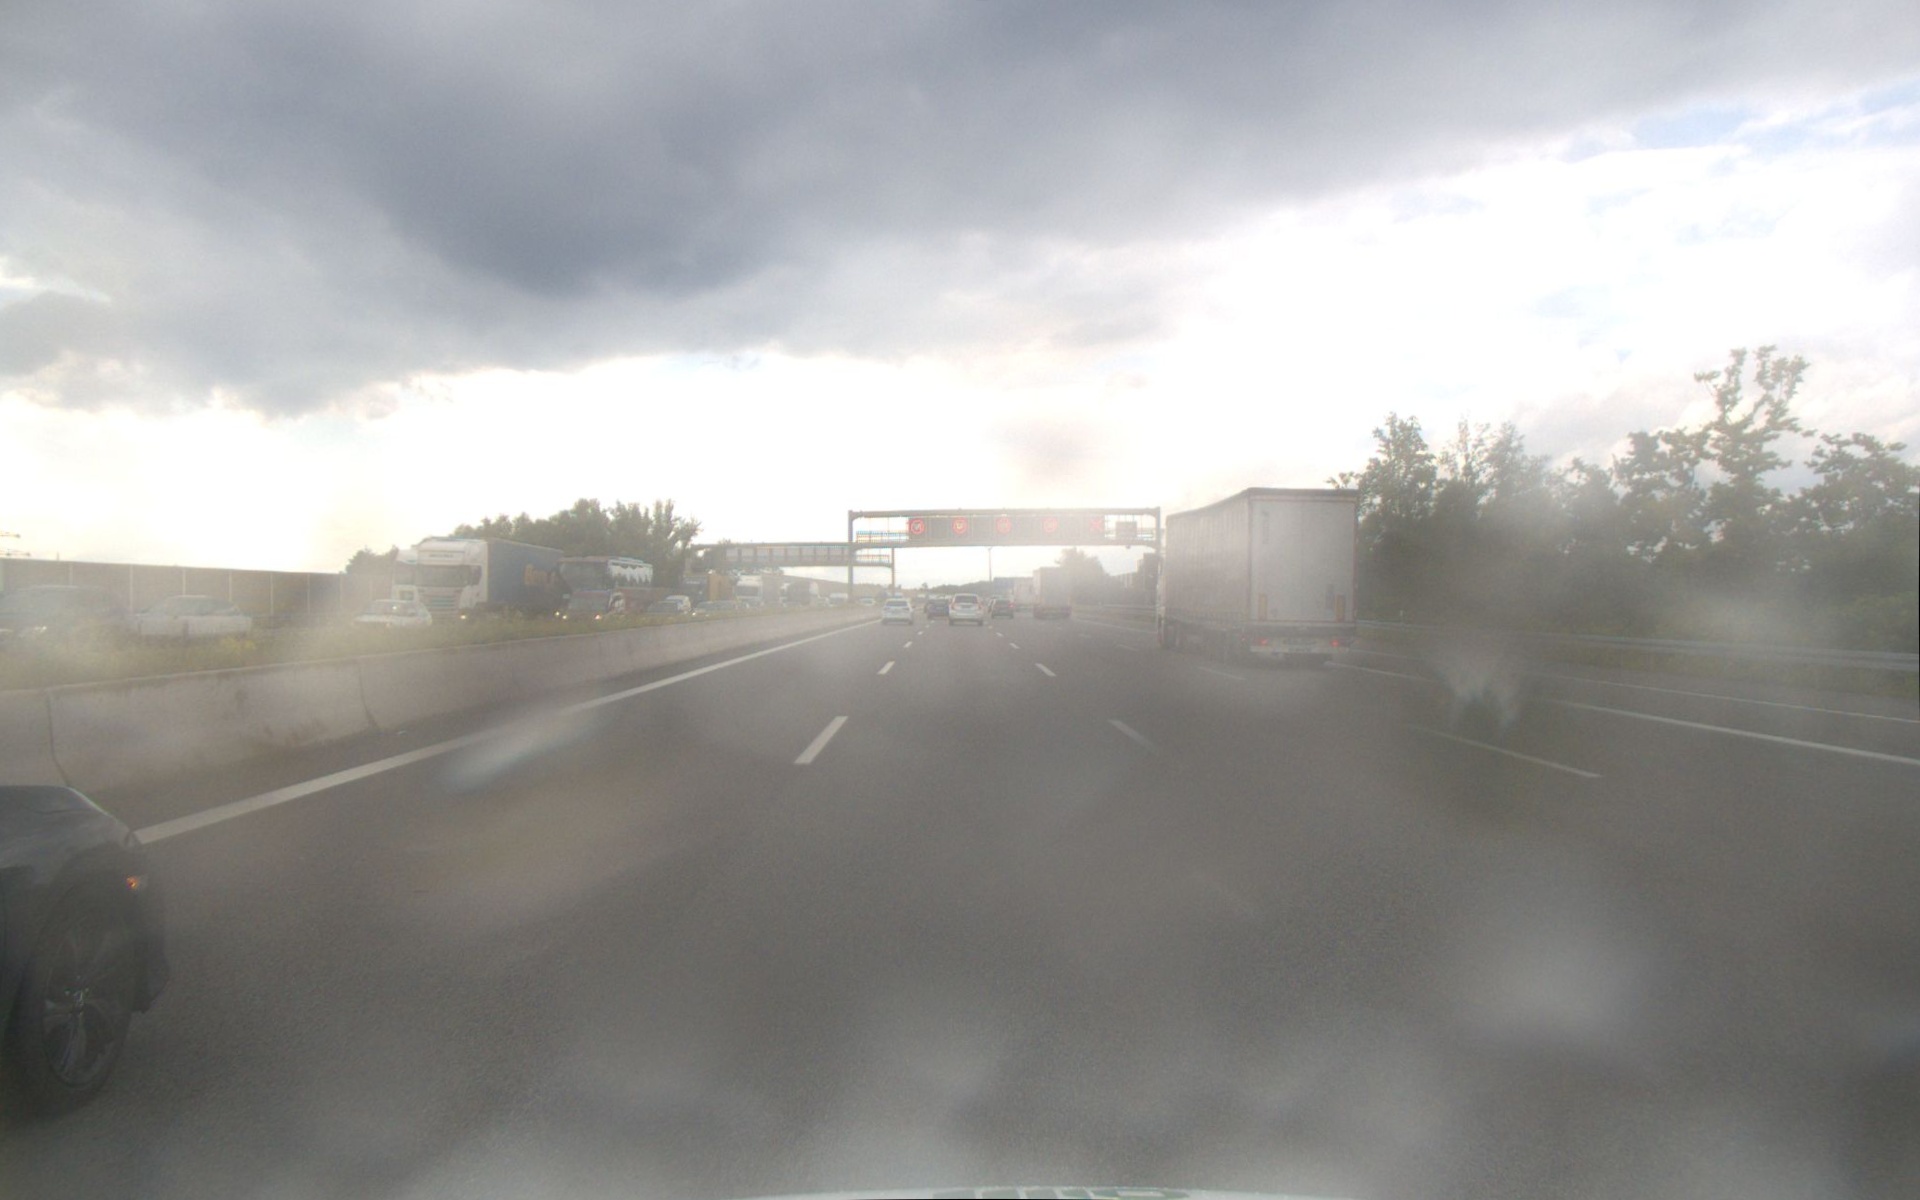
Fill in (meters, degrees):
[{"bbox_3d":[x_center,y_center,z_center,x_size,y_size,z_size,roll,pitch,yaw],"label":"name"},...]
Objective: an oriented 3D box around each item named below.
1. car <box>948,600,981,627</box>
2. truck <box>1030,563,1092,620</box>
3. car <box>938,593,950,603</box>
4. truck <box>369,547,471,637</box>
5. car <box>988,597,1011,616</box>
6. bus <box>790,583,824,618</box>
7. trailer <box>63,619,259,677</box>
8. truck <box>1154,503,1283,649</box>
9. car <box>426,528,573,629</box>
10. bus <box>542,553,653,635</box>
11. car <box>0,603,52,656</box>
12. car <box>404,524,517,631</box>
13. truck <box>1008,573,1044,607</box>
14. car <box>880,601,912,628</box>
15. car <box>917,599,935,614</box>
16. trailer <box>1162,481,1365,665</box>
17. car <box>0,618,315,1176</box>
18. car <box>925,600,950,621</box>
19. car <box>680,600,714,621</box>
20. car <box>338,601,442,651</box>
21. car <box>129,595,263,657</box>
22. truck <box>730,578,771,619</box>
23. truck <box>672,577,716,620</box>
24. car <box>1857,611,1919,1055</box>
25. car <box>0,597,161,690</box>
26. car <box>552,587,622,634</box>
[{"bbox_3d":[0.245,0.735,93.677,1.736,1.466,4.054,1,0,-2],"label":"car"},{"bbox_3d":[8.179,-0.692,135.931,4.095,4.363,12.610,1,0,-1],"label":"truck"},{"bbox_3d":[-2.254,-0.297,234.608,1.736,1.466,4.055,1,0,0],"label":"car"},{"bbox_3d":[-26.492,-0.385,81.429,2.841,4.188,6.621,1,0,-1],"label":"truck"},{"bbox_3d":[3.168,0.499,133.425,1.798,1.466,4.055,1,0,0],"label":"car"},{"bbox_3d":[-16.922,0.109,183.351,2.599,3.744,10.635,0,0,1],"label":"bus"},{"bbox_3d":[-17.203,0.998,35.911,2.050,1.089,4.758,1,0,-2],"label":"trailer"},{"bbox_3d":[7.684,-0.686,50.011,2.900,4.090,6.589,1,0,0],"label":"truck"},{"bbox_3d":[-21.078,-0.920,76.850,2.922,4.196,14.392,1,0,-1],"label":"car"},{"bbox_3d":[-17.826,-0.286,82.357,2.831,3.674,12.756,1,0,-1],"label":"bus"},{"bbox_3d":[-24.506,0.732,40.806,1.751,1.265,4.564,1,0,-1],"label":"car"},{"bbox_3d":[-20.962,-0.908,69.709,2.922,4.222,6.041,1,0,-1],"label":"car"},{"bbox_3d":[8.507,-1.286,215.839,4.157,4.249,11.988,1,0,0],"label":"truck"},{"bbox_3d":[-3.597,0.809,93.051,1.736,1.466,3.873,1,0,-2],"label":"car"},{"bbox_3d":[-3.539,0.663,171.285,1.737,1.466,4.053,1,0,-2],"label":"car"},{"bbox_3d":[7.661,-0.655,44.087,2.900,4.090,14.119,1,0,0],"label":"trailer"},{"bbox_3d":[-3.280,0.751,3.709,1.725,1.393,5.059,1,0,-1],"label":"car"},{"bbox_3d":[-1.642,0.788,121.342,1.736,1.466,4.054,1,0,-2],"label":"car"},{"bbox_3d":[-18.828,0.736,118.676,1.681,1.451,4.860,1,0,-1],"label":"car"},{"bbox_3d":[-17.995,0.782,52.459,1.751,1.480,4.564,1,0,-1],"label":"car"},{"bbox_3d":[-21.416,0.690,46.558,1.751,1.619,4.384,1,0,-1],"label":"car"},{"bbox_3d":[-21.188,-0.144,167.567,2.826,4.031,7.538,1,0,2],"label":"truck"},{"bbox_3d":[-25.765,-0.121,160.546,2.967,4.002,7.711,0,0,1],"label":"truck"},{"bbox_3d":[3.925,0.778,4.295,1.418,1.466,3.162,0,0,-2],"label":"car"},{"bbox_3d":[-17.027,0.764,31.228,1.751,1.589,4.563,1,0,-2],"label":"car"},{"bbox_3d":[-14.196,0.392,63.199,1.751,1.695,4.295,1,0,-1],"label":"car"}]
